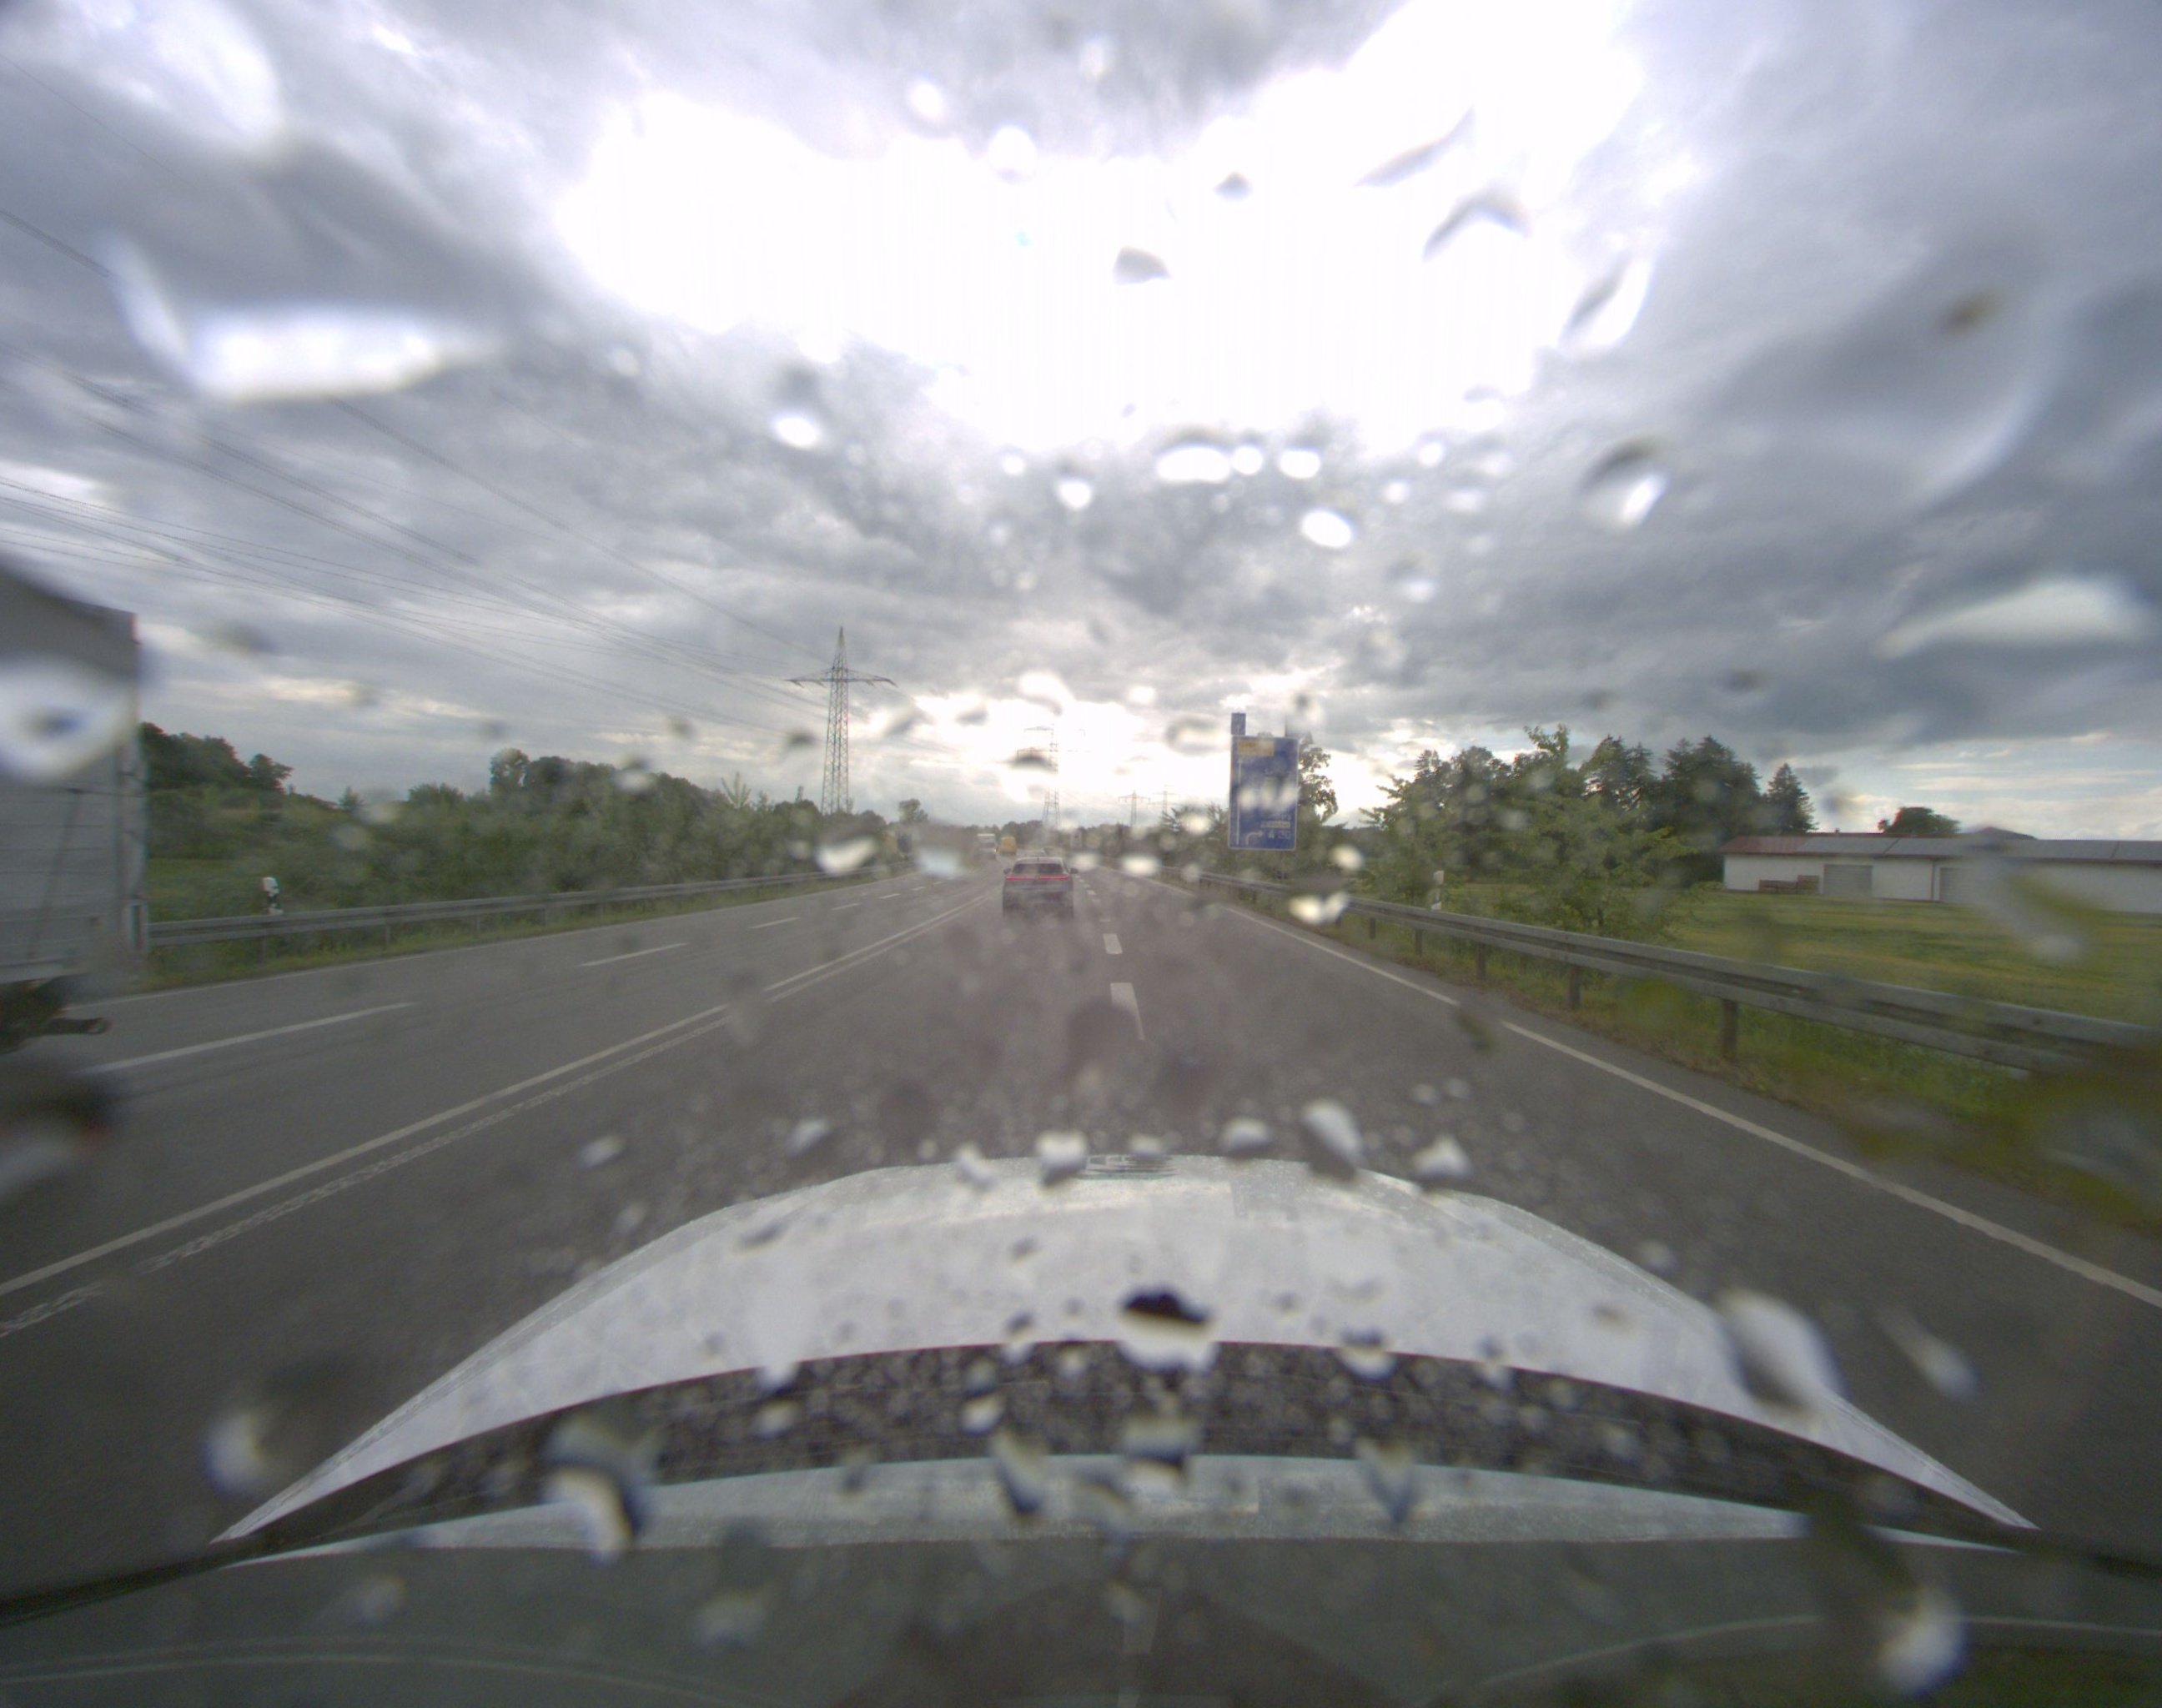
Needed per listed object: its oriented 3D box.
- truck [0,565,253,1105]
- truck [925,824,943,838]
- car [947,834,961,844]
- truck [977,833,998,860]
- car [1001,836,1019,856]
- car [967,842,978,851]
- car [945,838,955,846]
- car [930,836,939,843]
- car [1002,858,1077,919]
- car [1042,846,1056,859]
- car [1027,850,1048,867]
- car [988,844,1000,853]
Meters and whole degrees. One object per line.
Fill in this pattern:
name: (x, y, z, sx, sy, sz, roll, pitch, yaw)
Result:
truck: (-7.948, -0.088, 2.779, 2.470, 3.292, 7.287, -1, 0, 3)
truck: (-38.047, -5.876, 210.664, 3.057, 3.384, 7.590, 0, 1, -21)
car: (-29.588, -3.399, 189.556, 2.606, 2.250, 5.509, 0, 1, -14)
truck: (-11.464, -0.932, 100.236, 2.252, 3.156, 6.678, -1, 0, -5)
car: (-10.328, -1.142, 118.142, 2.570, 2.725, 7.181, -1, 0, -6)
car: (-18.303, -1.214, 137.389, 1.790, 1.441, 3.990, -1, -1, -7)
car: (-26.130, -2.418, 162.276, 1.800, 1.574, 4.243, -1, 0, -11)
car: (-33.664, -3.387, 187.186, 1.801, 1.575, 4.243, -1, 0, -11)
car: (-1.051, 0.836, 21.537, 1.787, 1.441, 3.997, -1, -1, -2)
car: (-4.003, -0.136, 102.032, 1.787, 1.541, 3.996, -1, 0, -3)
car: (-3.841, 0.415, 71.505, 1.787, 1.441, 3.995, 0, 0, -3)
car: (-15.139, -0.939, 141.876, 1.788, 1.441, 3.993, -3, 0, -5)
